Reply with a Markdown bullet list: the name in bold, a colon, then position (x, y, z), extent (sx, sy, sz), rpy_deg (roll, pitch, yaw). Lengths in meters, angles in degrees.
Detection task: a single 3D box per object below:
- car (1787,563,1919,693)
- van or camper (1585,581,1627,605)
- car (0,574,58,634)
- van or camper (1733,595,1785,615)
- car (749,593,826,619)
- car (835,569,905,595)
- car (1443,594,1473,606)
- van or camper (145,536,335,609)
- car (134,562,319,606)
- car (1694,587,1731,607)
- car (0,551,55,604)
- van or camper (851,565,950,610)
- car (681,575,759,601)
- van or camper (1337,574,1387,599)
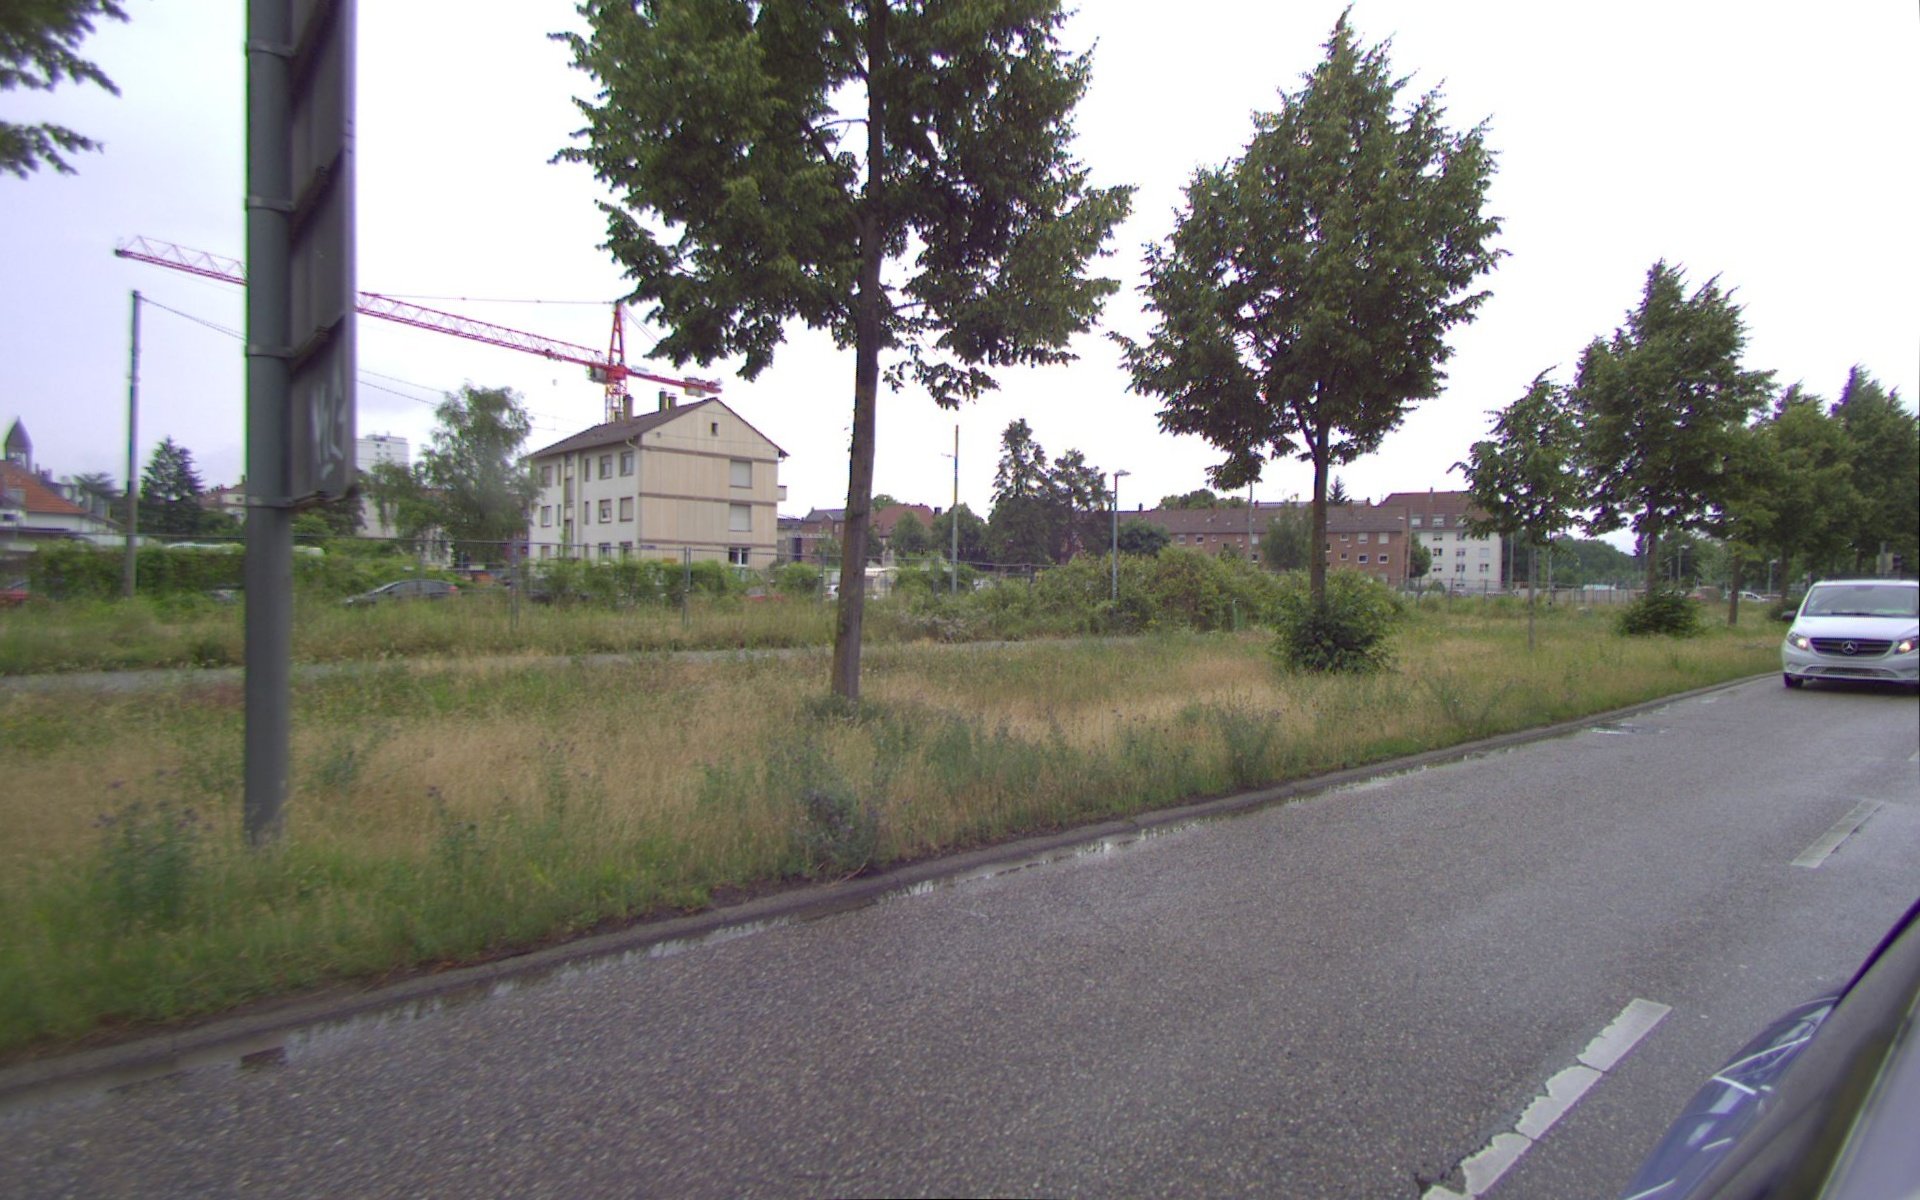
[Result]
- **car**: position (16.251, 0.394, 17.747), extent (5.004, 2.004, 1.970), rpy_deg (0, 1, -42)
- **van or camper**: position (83.519, -0.869, 130.915), extent (5.400, 3.073, 2.348), rpy_deg (0, -1, -30)
- **car**: position (-27.494, 0.092, 27.747), extent (3.925, 1.621, 1.861), rpy_deg (0, 1, -36)
- **van or camper**: position (85.737, 0.534, 108.612), extent (4.320, 2.039, 1.832), rpy_deg (1, 0, 43)
- **car**: position (-9.572, 0.323, 56.297), extent (3.961, 1.369, 1.699), rpy_deg (0, 1, -41)
- **car**: position (-6.847, -1.343, 77.176), extent (2.163, 1.918, 5.122), rpy_deg (2, 1, 45)
- **car**: position (56.687, 0.013, 115.072), extent (1.991, 1.405, 4.500), rpy_deg (-1, -1, 41)
- **van or camper**: position (-31.931, -1.155, 45.024), extent (6.659, 3.031, 2.912), rpy_deg (0, 1, -41)
- **car**: position (-29.686, -0.649, 41.175), extent (2.464, 1.664, 5.603), rpy_deg (1, 1, 31)
- **car**: position (87.152, -0.356, 117.251), extent (3.919, 2.340, 2.003), rpy_deg (0, 0, -28)
- **car**: position (-37.818, -0.877, 39.168), extent (4.091, 2.030, 1.699), rpy_deg (0, 1, -41)
- **van or camper**: position (-3.726, -0.783, 64.706), extent (6.290, 2.723, 2.310), rpy_deg (0, 1, -44)
- **car**: position (-13.658, -0.664, 57.648), extent (3.961, 1.450, 1.699), rpy_deg (0, 1, -41)
- **van or camper**: position (38.585, -1.251, 97.025), extent (6.046, 2.337, 2.204), rpy_deg (0, -1, -44)
